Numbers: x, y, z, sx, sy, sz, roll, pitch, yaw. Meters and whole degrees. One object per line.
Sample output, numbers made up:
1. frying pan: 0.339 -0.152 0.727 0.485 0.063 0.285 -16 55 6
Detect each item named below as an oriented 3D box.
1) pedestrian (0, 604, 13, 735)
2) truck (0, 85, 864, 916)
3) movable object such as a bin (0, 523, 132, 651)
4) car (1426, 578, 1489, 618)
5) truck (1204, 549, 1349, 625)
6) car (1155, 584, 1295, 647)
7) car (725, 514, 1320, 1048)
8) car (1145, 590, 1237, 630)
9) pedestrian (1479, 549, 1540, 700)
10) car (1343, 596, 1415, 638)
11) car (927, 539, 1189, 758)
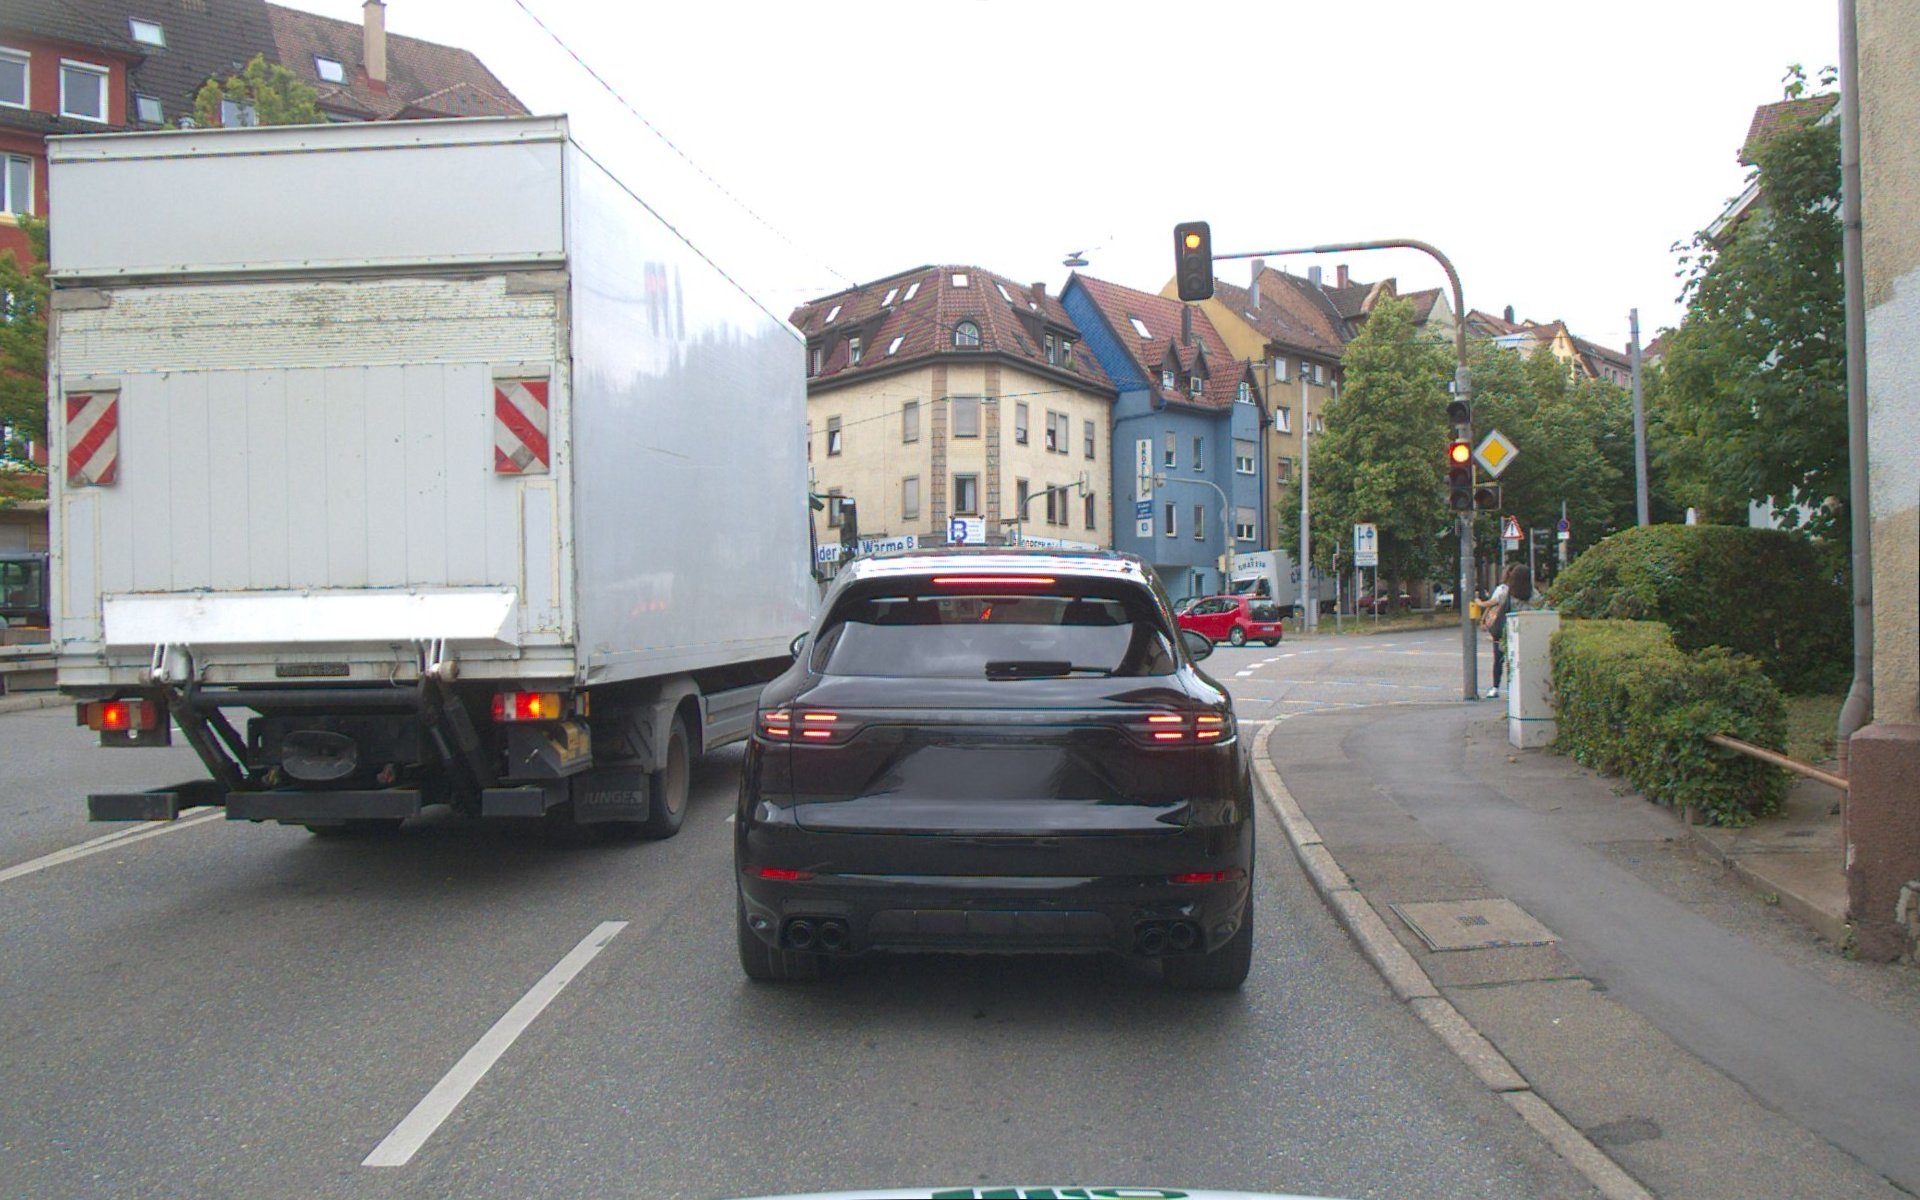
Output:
1. pedestrian: -13.282 0.937 22.556 0.537 1.760 0.586 2 -1 -35
2. truck: -2.643 -0.489 11.389 2.710 3.637 8.070 0 1 6
3. movable object such as a bin: -14.327 -0.213 25.516 1.870 1.802 3.986 2 0 -14
4. car: 28.038 -0.104 93.138 1.964 2.049 3.978 2 0 40
5. truck: 15.245 -0.581 79.200 2.830 3.398 8.744 2 0 41
6. car: 7.700 0.427 48.313 1.698 1.691 3.946 2 0 -38
7. car: 0.093 0.557 7.367 1.939 1.713 3.997 0 1 -4
8. car: 10.077 0.419 72.058 3.968 1.713 1.968 0 0 -43
9. pedestrian: 6.911 0.301 20.823 0.517 1.851 0.591 2 -1 -1
10. car: 21.935 0.914 86.484 1.965 2.049 3.975 2 -1 42
11. car: 1.036 0.381 15.064 1.951 1.713 4.003 0 0 10
